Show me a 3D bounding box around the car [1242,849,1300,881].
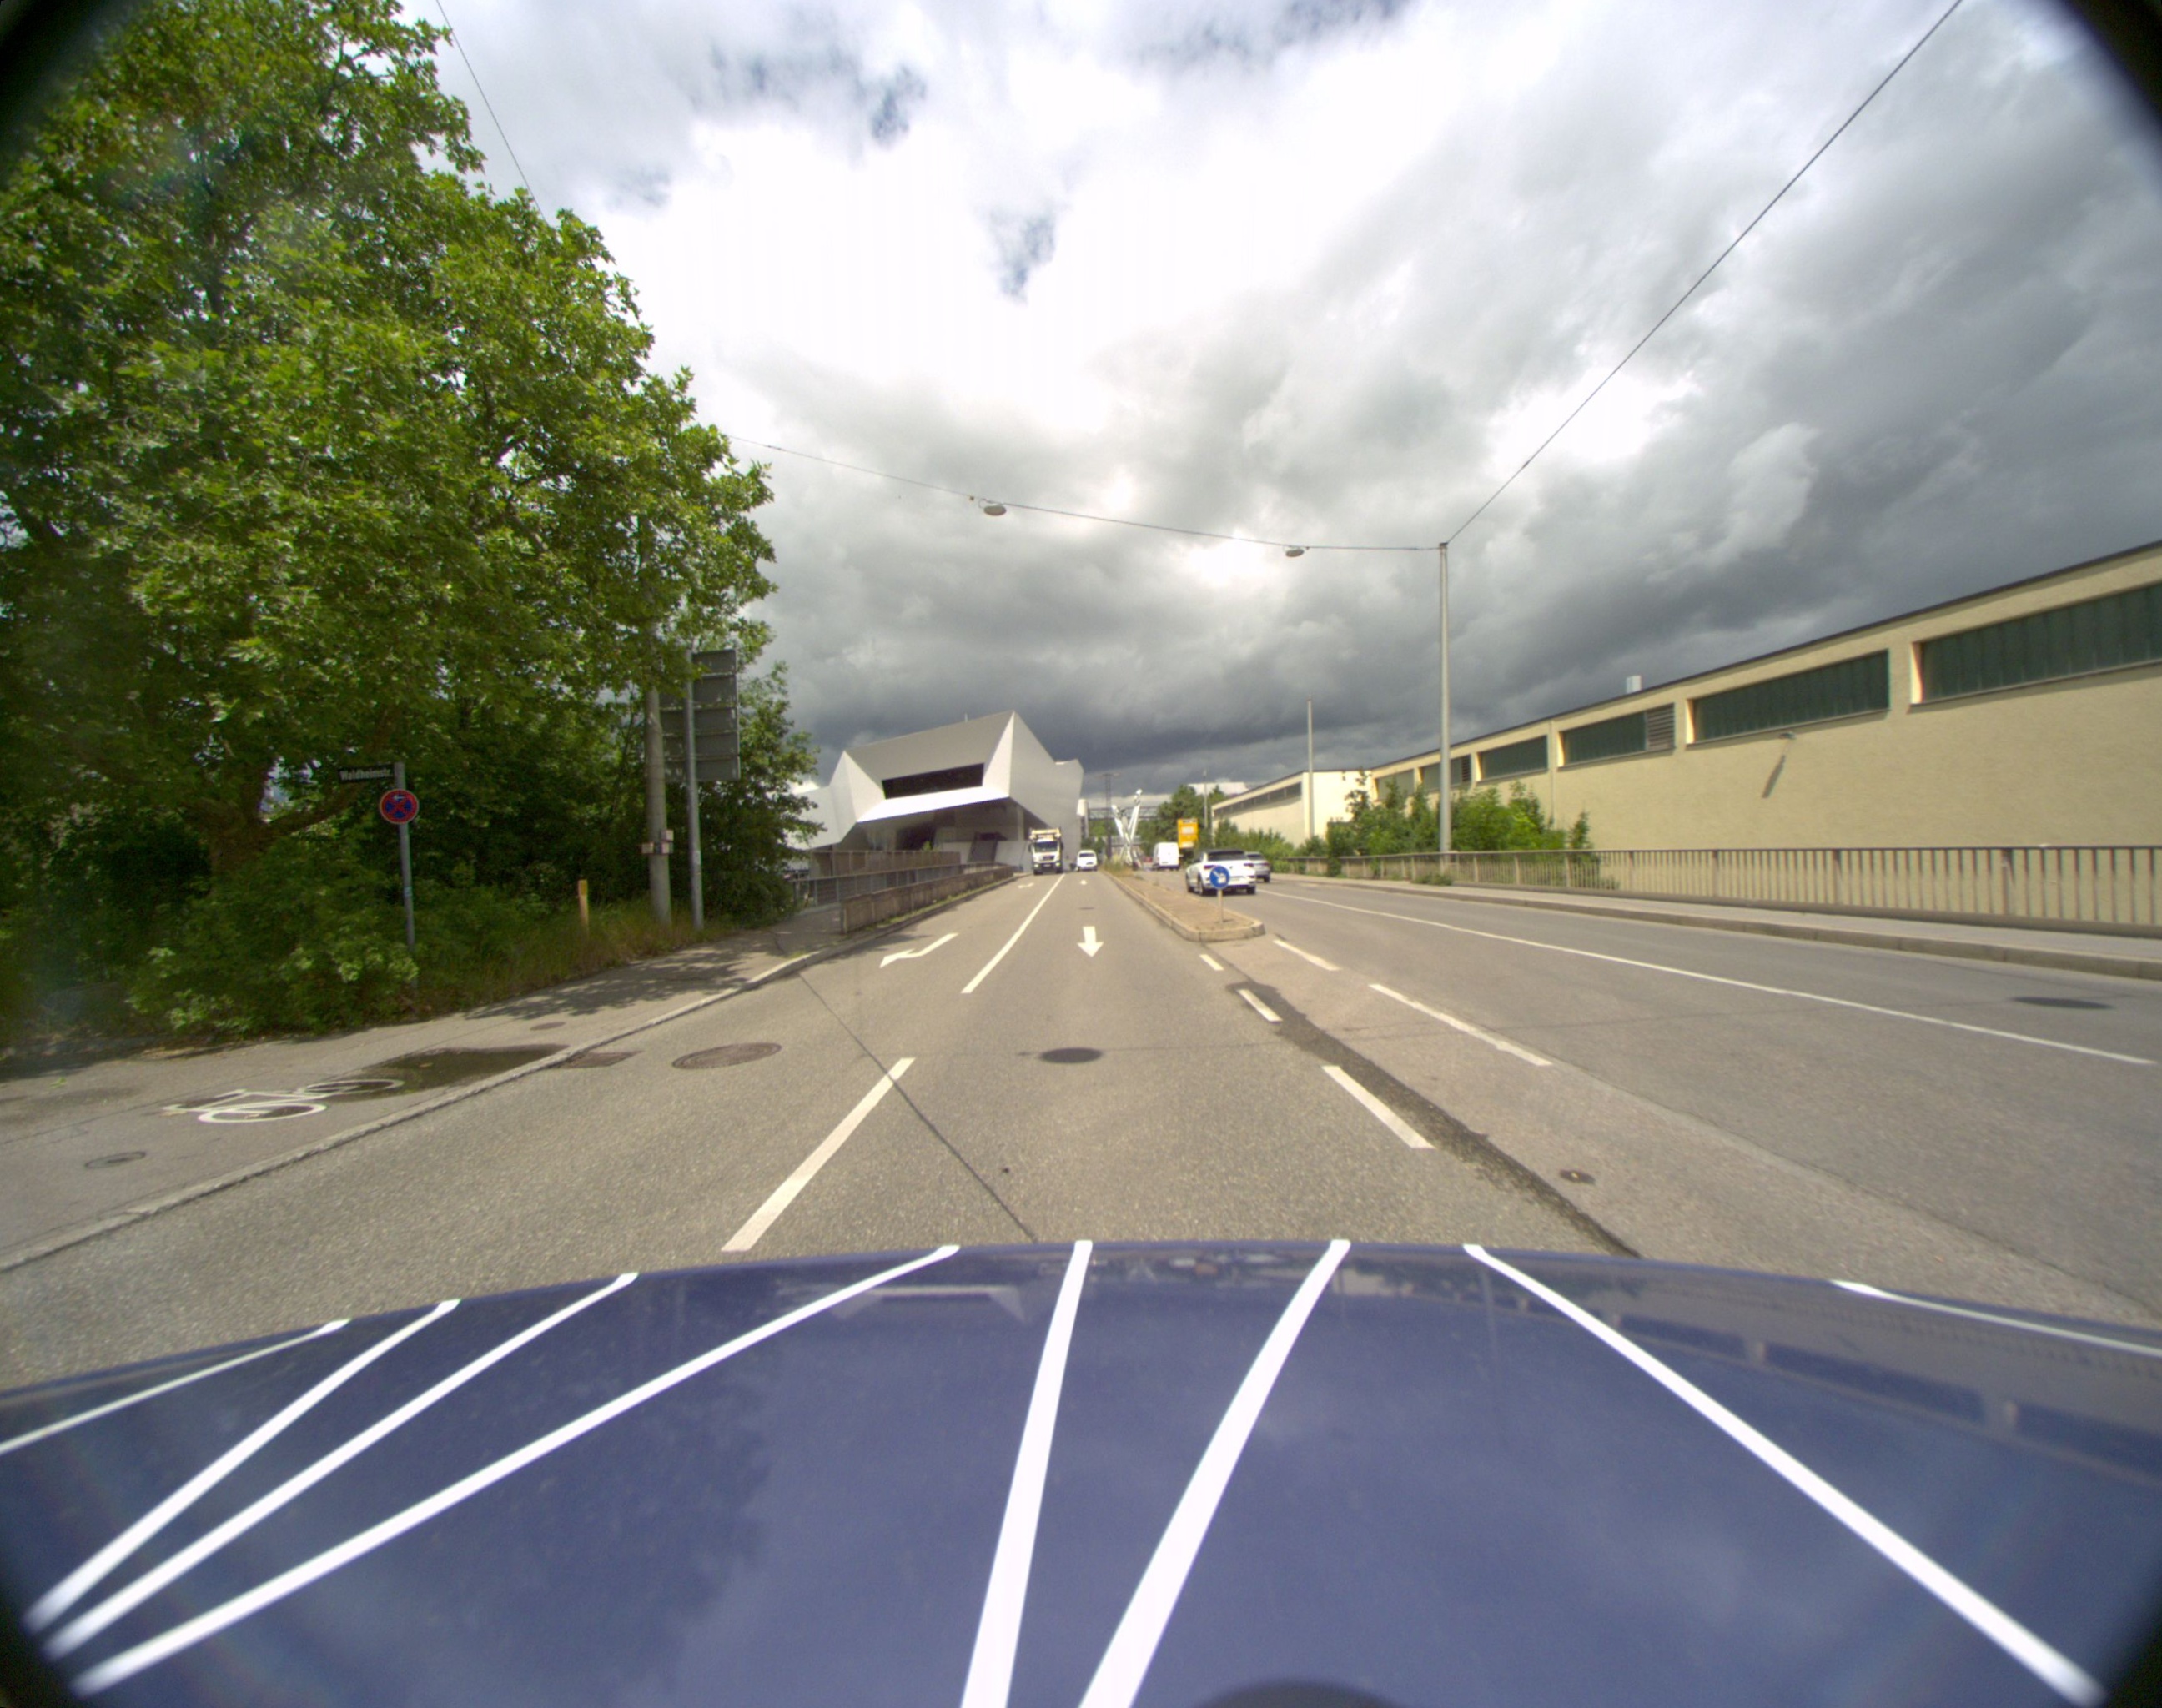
[{"bbox_3d":[8.780,0.502,35.447,1.641,1.355,4.194,-2,0,0],"label":"car"}]

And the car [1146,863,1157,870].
[{"bbox_3d":[12.536,2.171,134.836,1.758,1.268,4.001,0,-1,4],"label":"car"}]

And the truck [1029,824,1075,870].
[{"bbox_3d":[-2.423,-0.482,67.715,2.842,3.667,10.760,-2,-2,4],"label":"truck"}]

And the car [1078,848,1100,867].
[{"bbox_3d":[0.773,0.300,73.963,1.986,1.702,4.761,-2,0,1],"label":"car"}]

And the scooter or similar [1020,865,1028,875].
[{"bbox_3d":[-6.753,1.903,90.067,0.655,1.206,1.858,-1,-1,0],"label":"scooter or similar"}]

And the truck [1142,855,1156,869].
[{"bbox_3d":[17.151,2.066,191.664,2.861,2.839,9.388,-2,-4,8],"label":"truck"}]

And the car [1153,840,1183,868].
[{"bbox_3d":[8.134,0.004,71.698,2.072,2.556,6.821,-1,0,0],"label":"car"}]

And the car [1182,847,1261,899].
[{"bbox_3d":[4.691,0.574,25.887,1.815,1.551,4.207,-3,0,0],"label":"car"}]

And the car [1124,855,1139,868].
[{"bbox_3d":[7.916,1.232,120.232,1.998,1.877,4.869,-2,-1,1],"label":"car"}]
